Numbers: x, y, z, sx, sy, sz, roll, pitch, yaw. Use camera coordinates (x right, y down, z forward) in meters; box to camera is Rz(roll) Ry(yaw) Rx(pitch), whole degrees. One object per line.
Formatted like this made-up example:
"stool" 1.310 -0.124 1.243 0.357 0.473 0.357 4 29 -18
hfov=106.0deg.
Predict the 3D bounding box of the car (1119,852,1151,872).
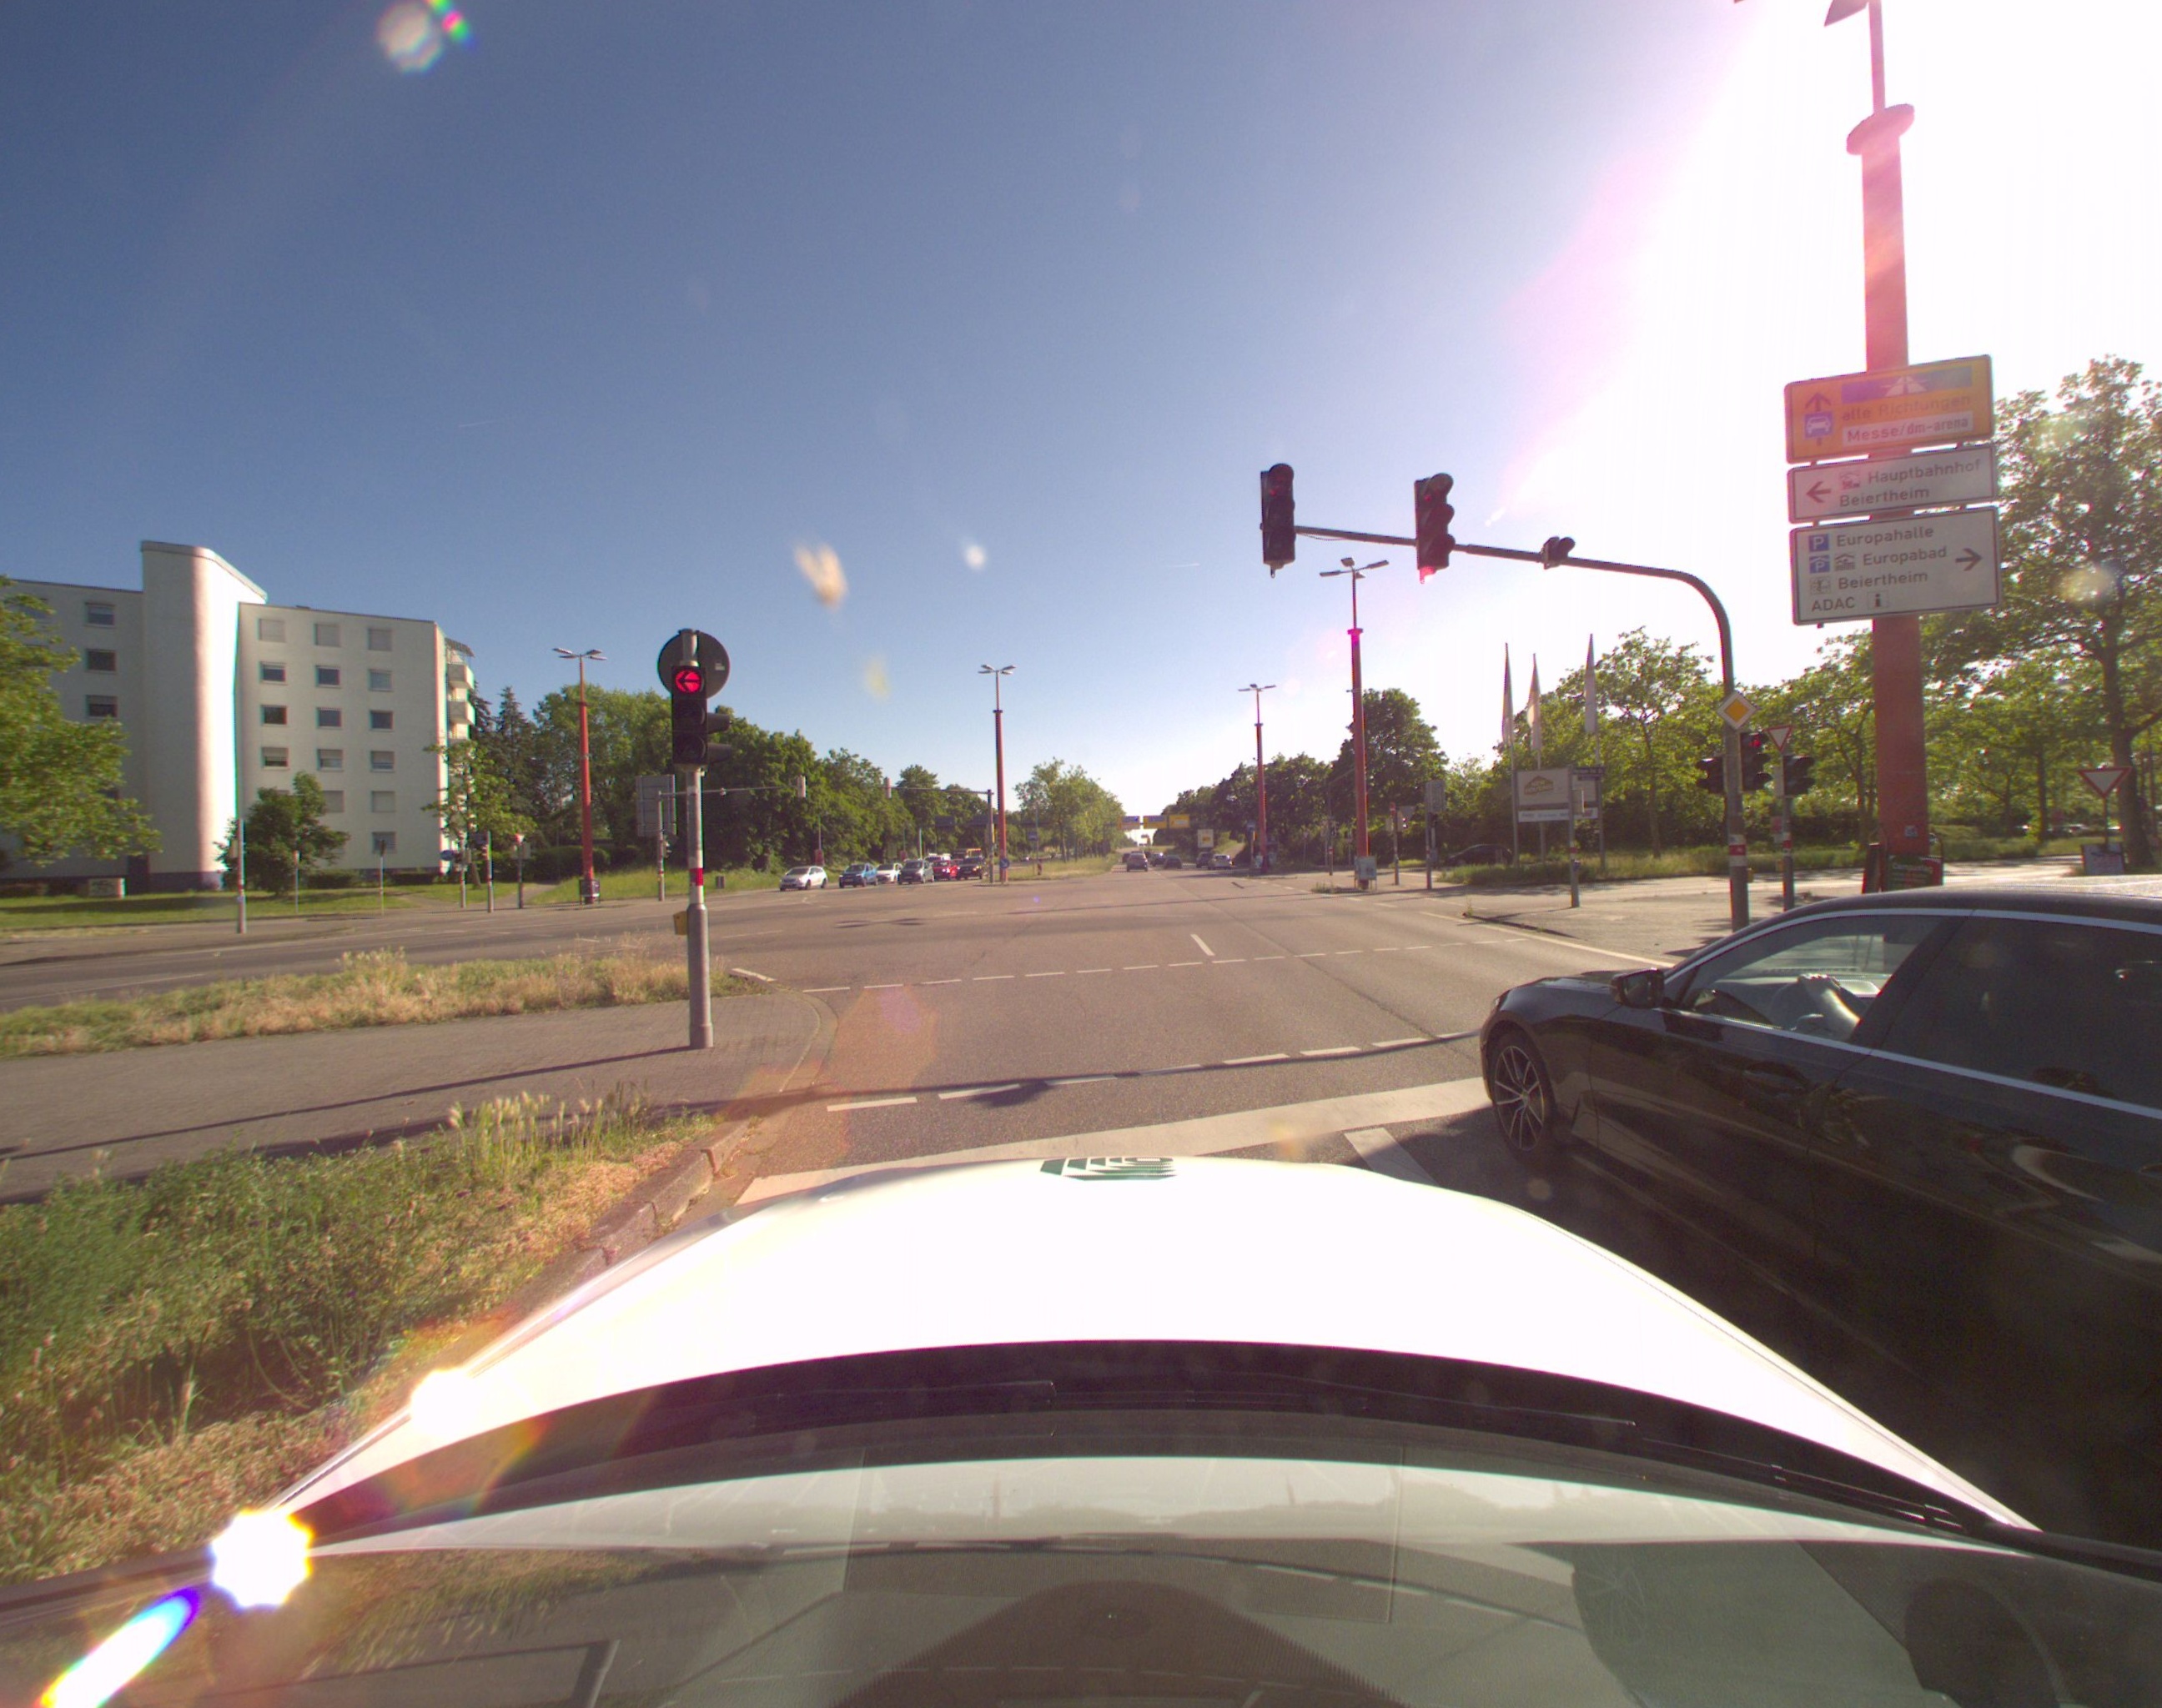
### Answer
"car" 4.651 0.668 70.616 2.241 1.573 4.276 -2 0 -3

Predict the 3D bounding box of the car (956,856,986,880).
"car" -7.567 0.939 56.487 1.874 1.573 4.112 -2 0 -6

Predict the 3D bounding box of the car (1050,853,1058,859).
"car" -7.401 0.531 221.214 1.987 1.573 4.120 -2 0 0

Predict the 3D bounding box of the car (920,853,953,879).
"car" -12.737 1.052 71.983 2.055 2.193 4.377 -2 0 0

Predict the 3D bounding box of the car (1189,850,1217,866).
"car" 12.770 0.461 85.703 2.153 1.573 4.277 -2 0 -2

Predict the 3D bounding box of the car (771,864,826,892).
"car" -17.694 1.466 51.177 1.987 1.573 4.120 -2 0 0

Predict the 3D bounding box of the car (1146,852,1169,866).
"car" 9.165 0.635 97.818 2.153 1.573 4.277 -2 0 -2

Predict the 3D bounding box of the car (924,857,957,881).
"car" -10.105 1.046 58.869 1.991 1.573 4.112 -2 0 -6

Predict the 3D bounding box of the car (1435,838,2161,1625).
"car" 2.956 0.668 2.371 1.986 1.394 4.479 -2 0 2

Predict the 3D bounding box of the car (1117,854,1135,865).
"car" 6.393 0.780 116.958 2.153 1.573 4.277 -2 0 -2

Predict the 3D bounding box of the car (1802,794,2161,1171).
"car" 5.802 0.563 3.260 1.959 1.686 4.479 -1 0 2

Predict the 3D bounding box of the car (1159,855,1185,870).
"car" 9.125 0.840 81.878 1.948 1.442 4.277 -2 0 -2

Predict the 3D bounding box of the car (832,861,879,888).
"car" -14.237 1.284 51.637 1.989 1.573 4.116 -2 0 -3

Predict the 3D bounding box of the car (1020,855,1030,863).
"car" -12.796 1.107 185.830 1.987 1.573 4.120 -2 0 0

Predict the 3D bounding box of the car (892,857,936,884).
"car" -10.733 1.046 52.577 1.988 1.573 4.119 -2 0 -1

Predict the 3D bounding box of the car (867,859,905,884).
"car" -13.740 1.215 57.520 1.991 1.573 4.112 -3 0 -6

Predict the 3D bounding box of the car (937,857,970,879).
"car" -10.068 1.093 64.650 1.988 1.573 4.118 -2 0 -1

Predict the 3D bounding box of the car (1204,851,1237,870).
"car" 12.682 0.563 74.465 2.153 1.573 4.277 -2 0 -2

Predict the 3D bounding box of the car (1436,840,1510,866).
"car" 26.271 -0.049 54.762 4.232 1.573 2.176 -2 0 18
